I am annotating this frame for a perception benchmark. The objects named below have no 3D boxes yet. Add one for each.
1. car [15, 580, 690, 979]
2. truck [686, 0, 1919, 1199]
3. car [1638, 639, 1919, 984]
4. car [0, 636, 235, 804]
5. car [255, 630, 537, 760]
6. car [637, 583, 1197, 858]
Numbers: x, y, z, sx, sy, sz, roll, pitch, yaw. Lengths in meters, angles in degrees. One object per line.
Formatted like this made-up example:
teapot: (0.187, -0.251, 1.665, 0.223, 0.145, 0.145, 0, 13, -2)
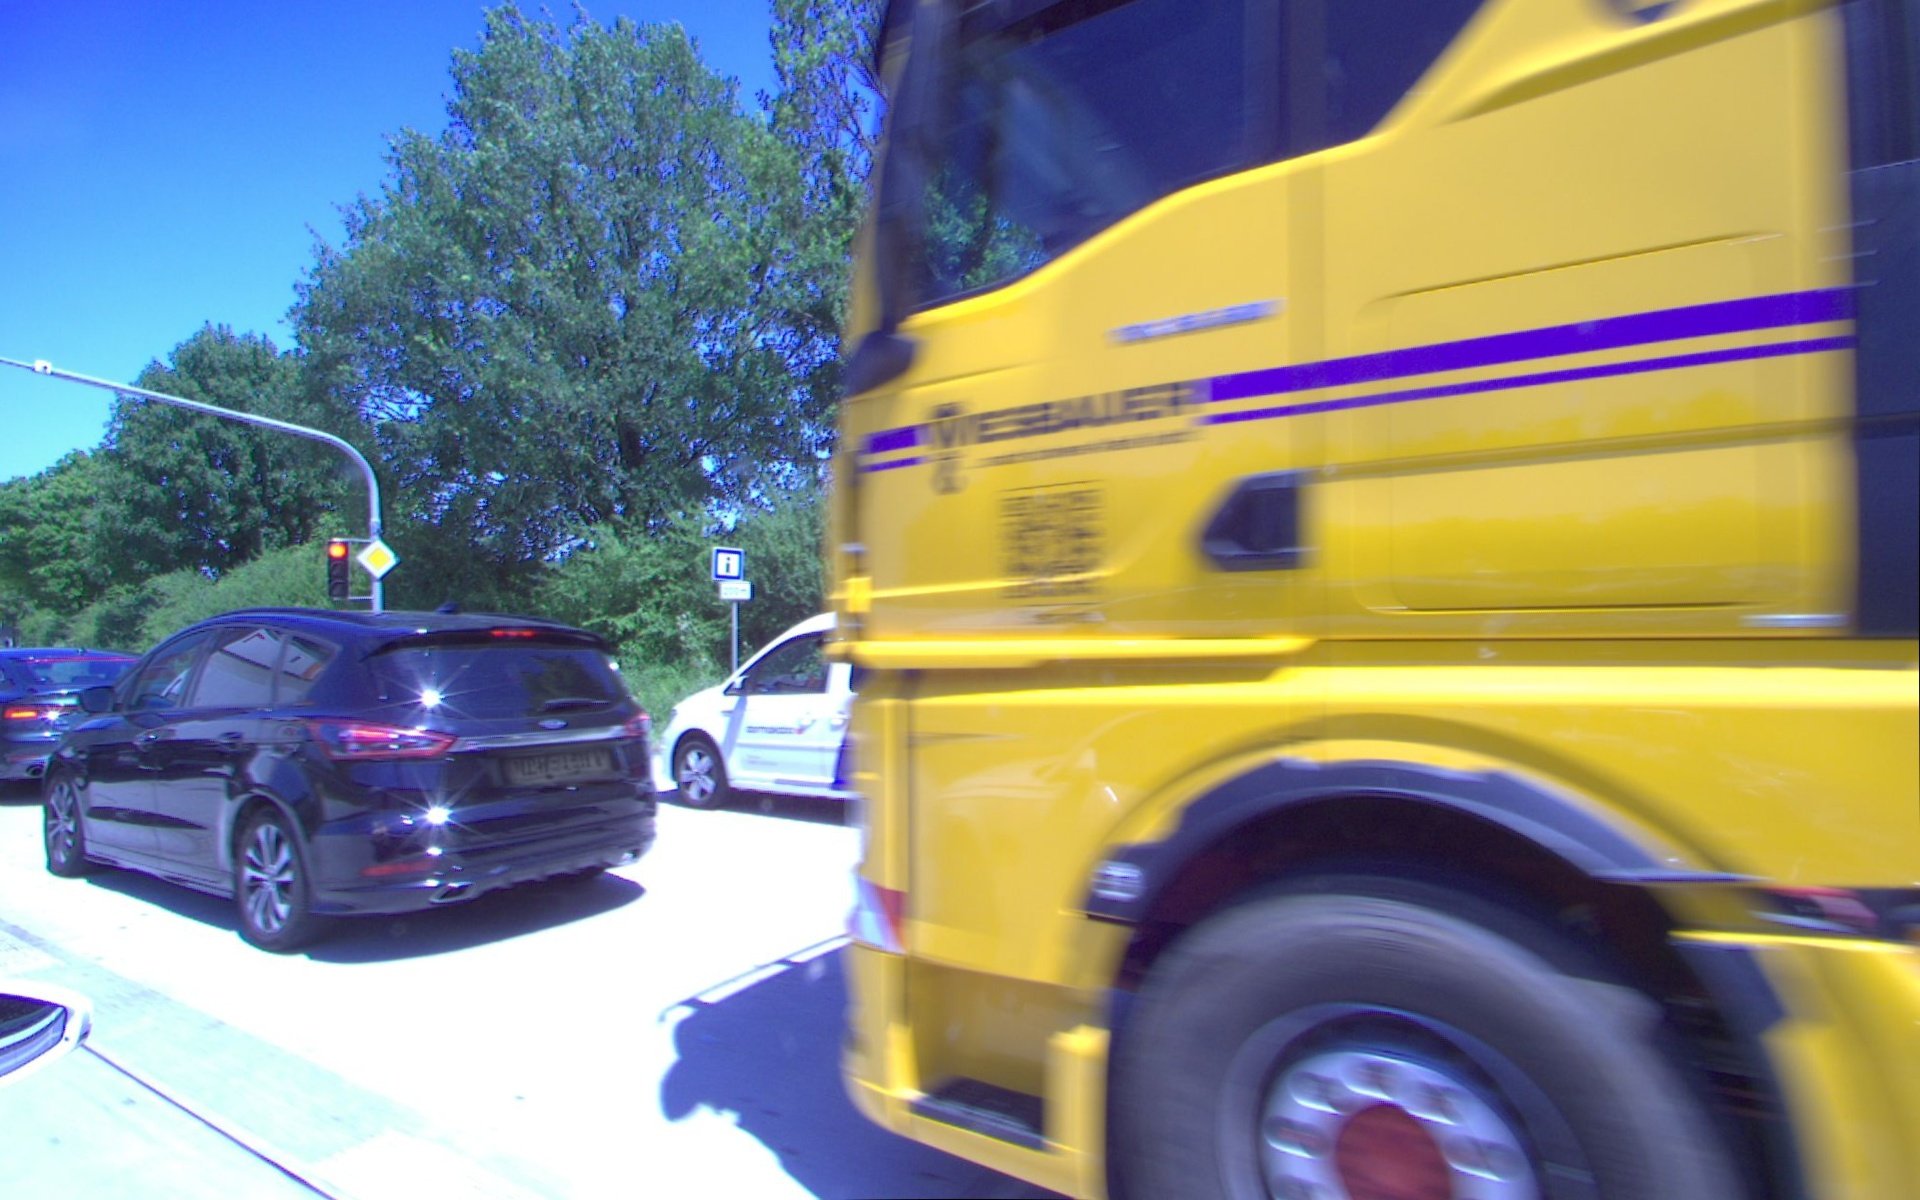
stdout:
car: (-3.919, 0.835, 6.185, 4.583, 1.660, 1.780, -2, -2, 33)
truck: (3.261, -0.413, 1.800, 7.360, 3.820, 3.010, -1, -2, 31)
car: (5.728, 0.913, 4.464, 4.299, 1.480, 1.766, -2, -2, 29)
car: (-9.580, 1.110, 10.538, 4.548, 1.428, 1.763, -2, -2, 35)
car: (-7.594, 1.189, 13.448, 3.598, 1.528, 1.765, -2, -2, 31)
car: (-0.526, 0.890, 8.705, 4.725, 1.830, 1.764, -2, -2, 33)
